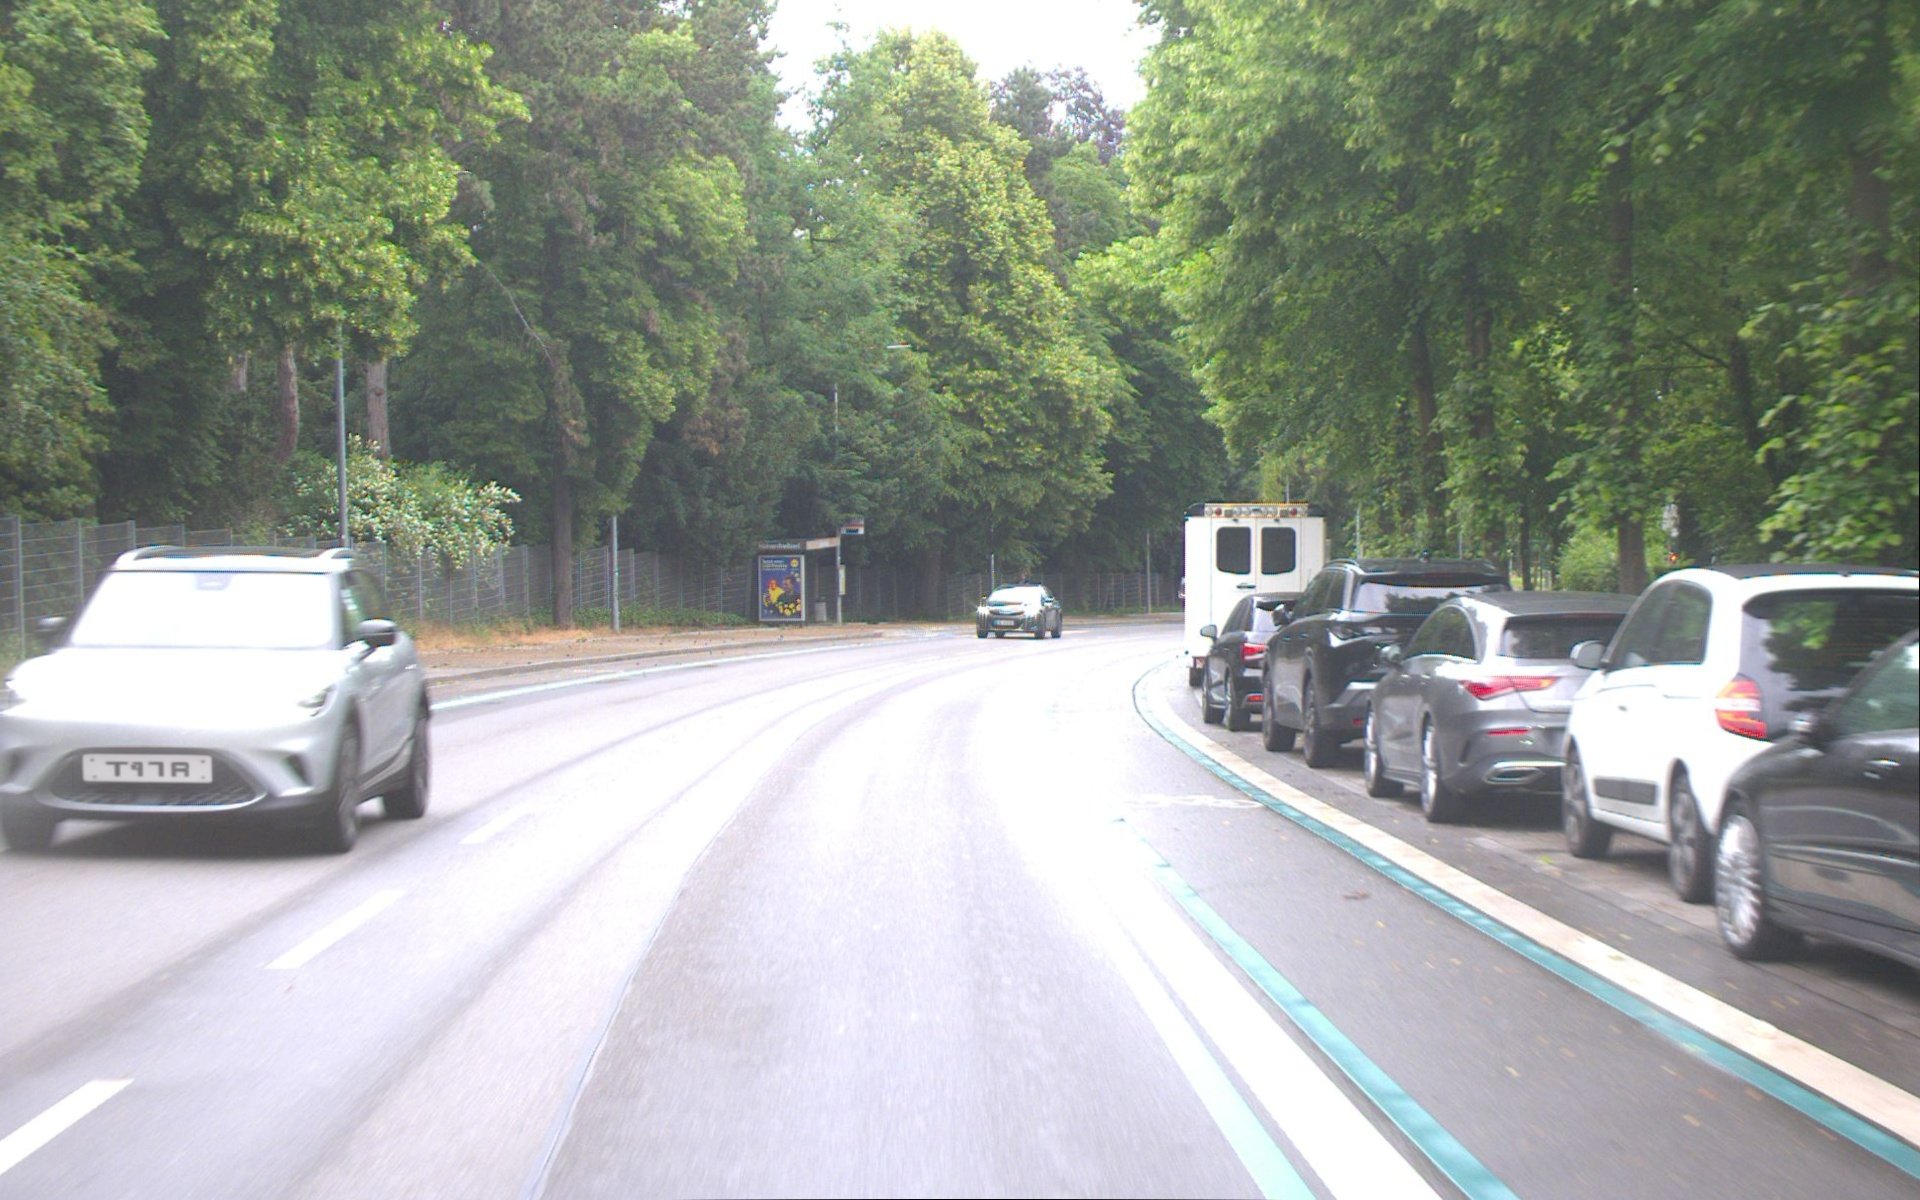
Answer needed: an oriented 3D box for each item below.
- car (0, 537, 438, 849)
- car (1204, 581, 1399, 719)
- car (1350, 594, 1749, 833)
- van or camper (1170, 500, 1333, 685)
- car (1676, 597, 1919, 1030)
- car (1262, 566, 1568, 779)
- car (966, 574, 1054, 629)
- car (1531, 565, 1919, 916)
[{"bbox_3d":[-4.124,0.465,19.410,1.796,1.571,4.102,0,0,-1],"label":"car"},{"bbox_3d":[3.545,0.515,36.265,1.678,1.371,4.000,0,-1,0],"label":"car"},{"bbox_3d":[3.628,0.655,21.914,1.775,1.343,4.466,1,0,0],"label":"car"},{"bbox_3d":[4.533,-0.130,52.978,2.317,2.655,6.381,1,0,6],"label":"van or camper"},{"bbox_3d":[3.868,0.690,11.786,1.718,1.371,4.559,0,-1,-2],"label":"car"},{"bbox_3d":[3.707,0.589,28.733,1.993,1.639,4.348,0,-1,0],"label":"car"},{"bbox_3d":[1.381,0.023,93.754,1.761,1.432,4.149,0,0,10],"label":"car"},{"bbox_3d":[4.021,0.617,17.014,1.661,1.530,3.741,1,0,-1],"label":"car"}]
